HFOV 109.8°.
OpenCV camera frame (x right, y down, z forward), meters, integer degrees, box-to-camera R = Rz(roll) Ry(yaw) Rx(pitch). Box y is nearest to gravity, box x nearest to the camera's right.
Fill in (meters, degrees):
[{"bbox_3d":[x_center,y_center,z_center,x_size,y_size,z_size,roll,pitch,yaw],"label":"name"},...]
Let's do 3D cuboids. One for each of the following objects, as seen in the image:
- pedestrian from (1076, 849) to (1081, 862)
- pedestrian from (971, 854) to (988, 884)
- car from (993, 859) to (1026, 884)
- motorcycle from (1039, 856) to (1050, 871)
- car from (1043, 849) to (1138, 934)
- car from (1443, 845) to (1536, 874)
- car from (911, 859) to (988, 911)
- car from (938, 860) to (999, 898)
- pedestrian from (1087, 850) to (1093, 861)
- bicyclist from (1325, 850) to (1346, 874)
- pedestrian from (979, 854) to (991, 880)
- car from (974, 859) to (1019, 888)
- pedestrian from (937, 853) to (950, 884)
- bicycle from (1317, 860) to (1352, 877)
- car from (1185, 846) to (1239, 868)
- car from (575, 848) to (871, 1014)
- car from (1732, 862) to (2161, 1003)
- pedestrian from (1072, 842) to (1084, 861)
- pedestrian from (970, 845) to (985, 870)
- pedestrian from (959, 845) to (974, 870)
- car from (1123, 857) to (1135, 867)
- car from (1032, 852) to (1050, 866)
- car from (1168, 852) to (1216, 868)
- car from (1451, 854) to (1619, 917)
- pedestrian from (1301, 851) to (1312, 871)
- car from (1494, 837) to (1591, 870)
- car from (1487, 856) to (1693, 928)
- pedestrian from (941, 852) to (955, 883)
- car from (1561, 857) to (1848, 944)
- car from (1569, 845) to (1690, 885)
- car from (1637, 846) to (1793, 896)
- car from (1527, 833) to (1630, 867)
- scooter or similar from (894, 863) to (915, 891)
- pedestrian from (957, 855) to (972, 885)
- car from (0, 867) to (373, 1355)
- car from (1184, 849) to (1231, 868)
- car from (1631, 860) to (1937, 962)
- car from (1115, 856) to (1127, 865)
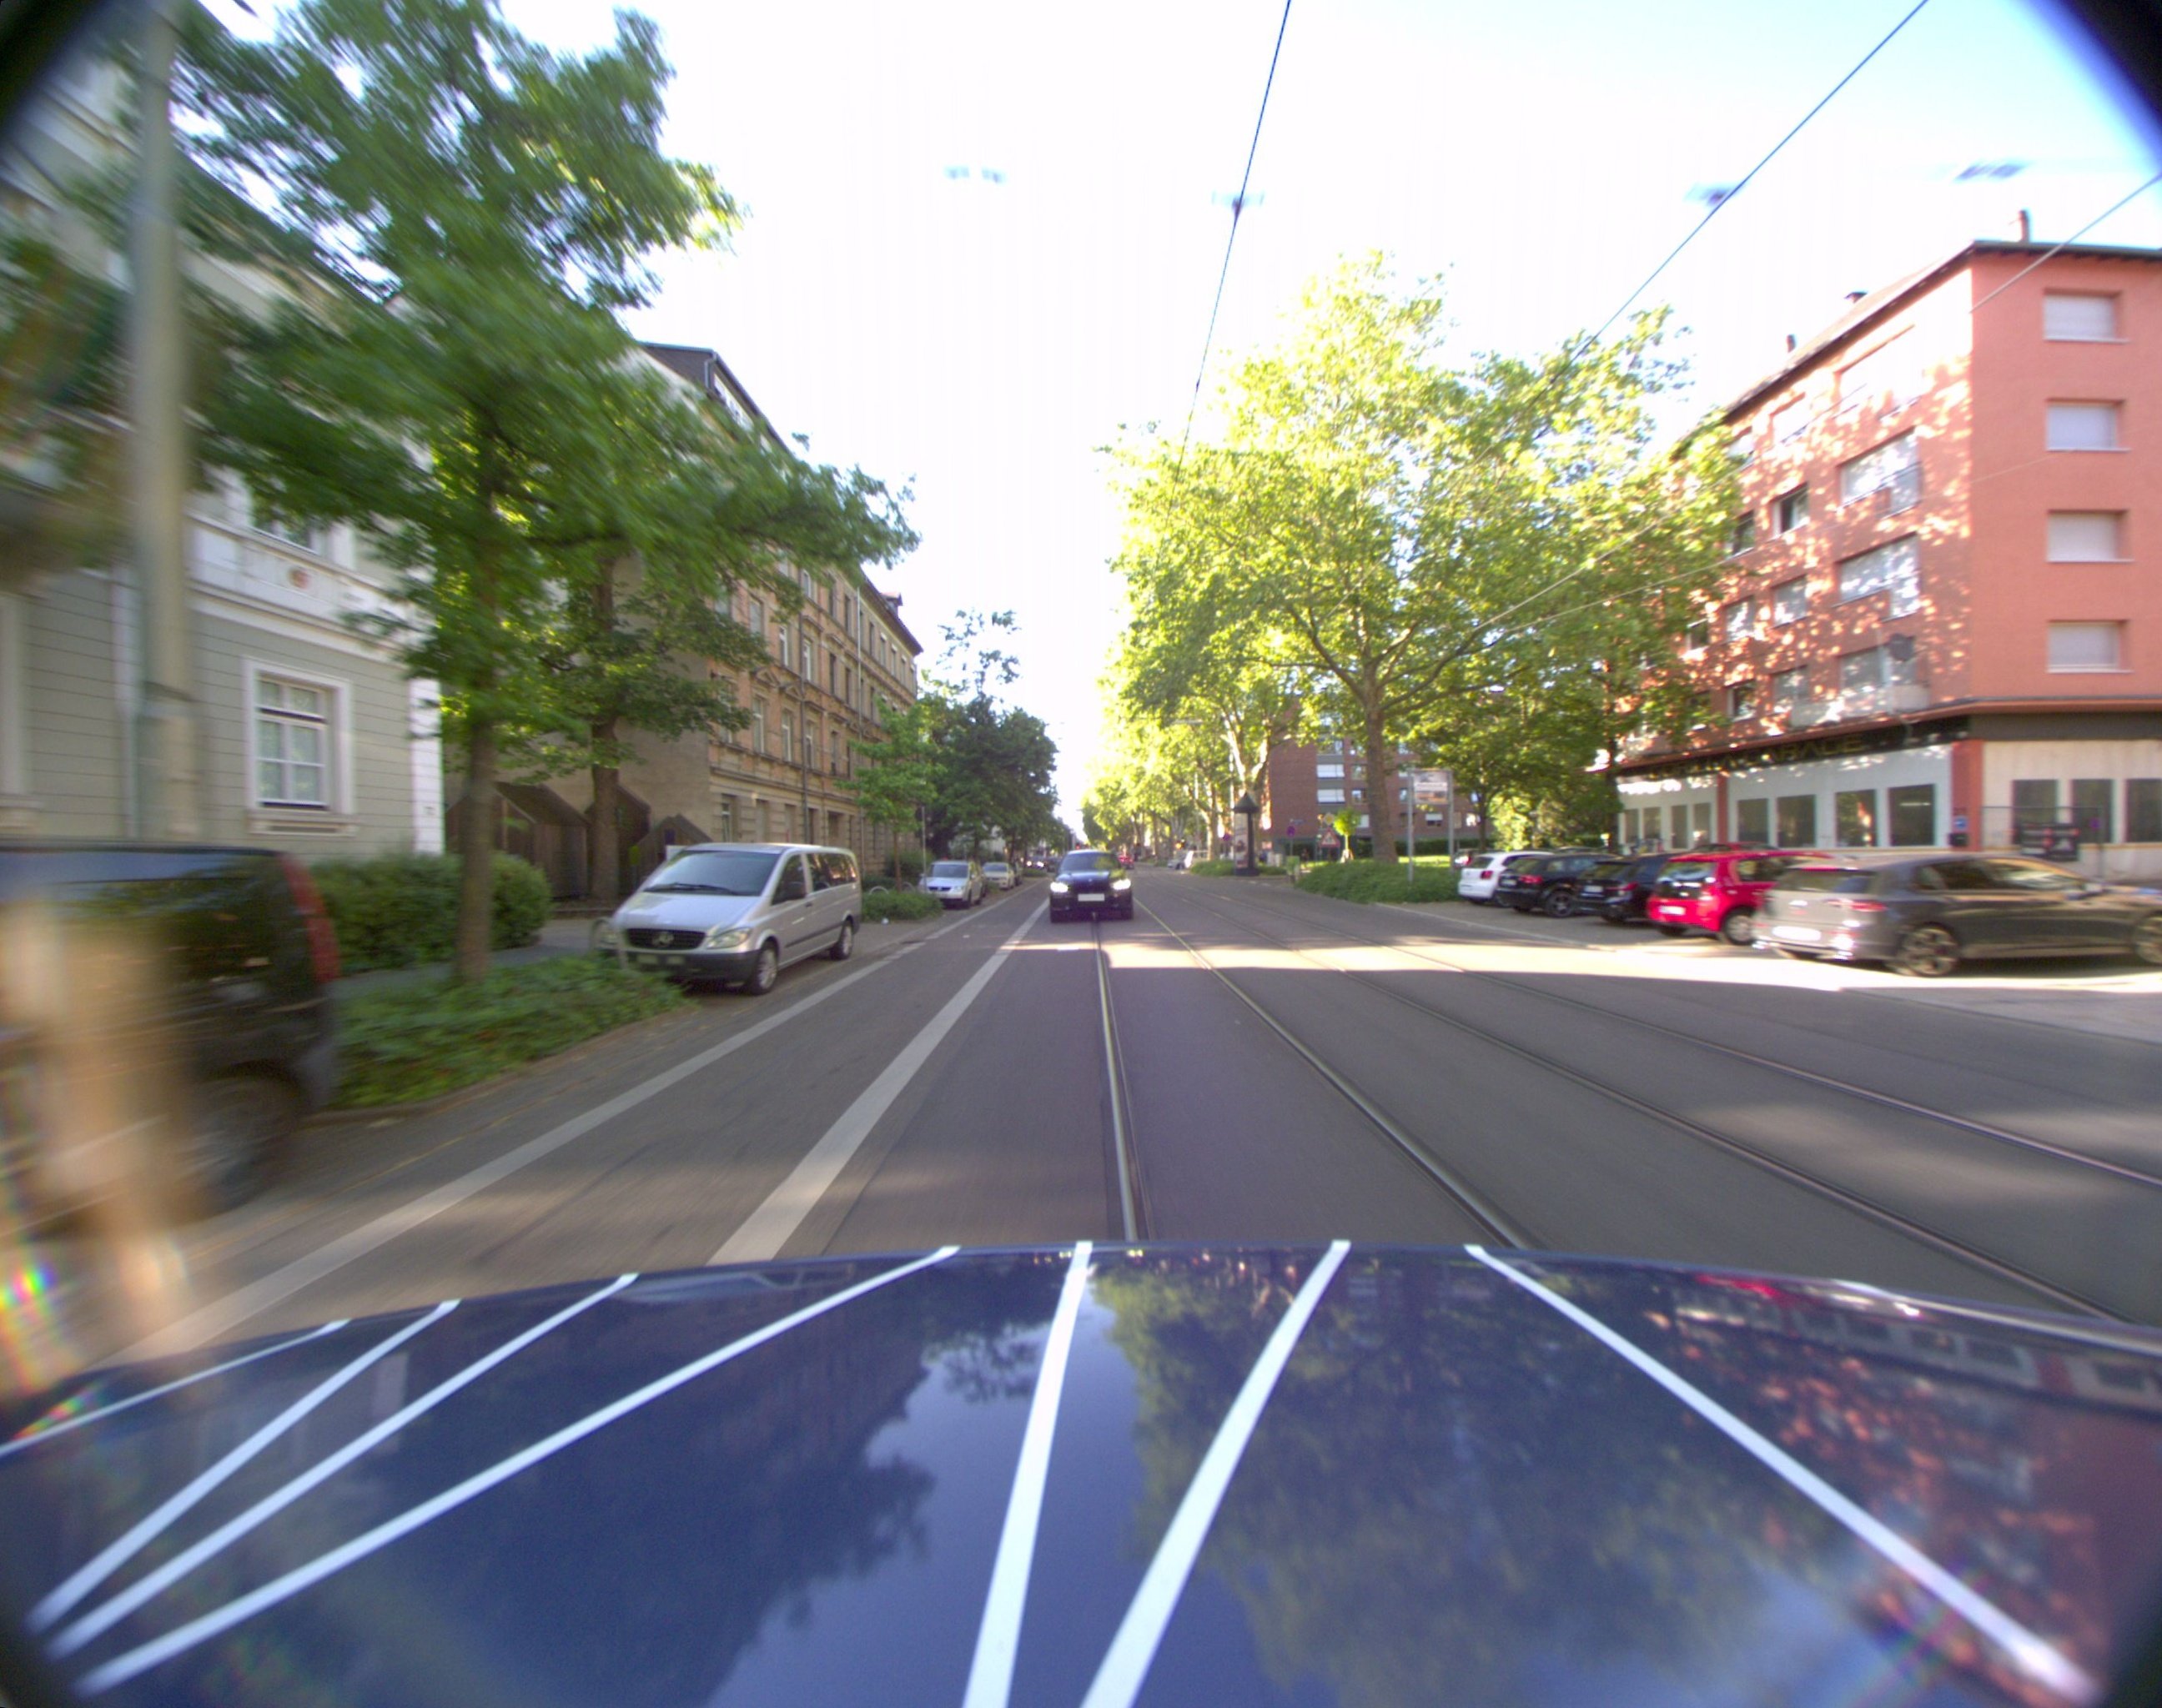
[{"bbox_3d":[-0.350,0.235,108.182,0.493,1.760,0.704,-2,1,16],"label":"pedestrian"},{"bbox_3d":[-5.890,0.857,44.092,0.728,1.683,0.957,-2,1,2],"label":"pedestrian"},{"bbox_3d":[-4.412,1.090,47.375,1.677,1.404,3.842,1,1,-1],"label":"car"},{"bbox_3d":[-3.866,0.993,80.686,1.054,1.446,2.208,-2,1,1],"label":"motorcycle"},{"bbox_3d":[0.260,0.785,18.663,1.937,1.718,5.073,-3,0,1],"label":"car"},{"bbox_3d":[24.148,0.308,44.964,4.540,1.480,1.859,-2,1,-5],"label":"car"},{"bbox_3d":[-4.498,1.015,26.641,1.889,1.559,4.242,1,1,1],"label":"car"},{"bbox_3d":[-4.826,1.034,33.134,1.889,1.458,4.593,1,1,1],"label":"car"},{"bbox_3d":[1.391,0.224,113.164,0.836,1.703,0.640,-2,1,2],"label":"pedestrian"},{"bbox_3d":[16.140,0.486,48.216,0.802,1.498,1.116,-2,1,-10],"label":"bicyclist"},{"bbox_3d":[-6.581,0.877,52.263,0.728,1.783,0.600,-2,1,-3],"label":"pedestrian"},{"bbox_3d":[-4.468,1.019,40.847,1.889,1.360,4.106,1,1,1],"label":"car"},{"bbox_3d":[-8.156,0.862,45.207,0.600,1.783,0.728,-2,1,-2],"label":"pedestrian"},{"bbox_3d":[16.120,0.917,48.339,0.971,0.993,2.581,-2,1,-9],"label":"bicycle"},{"bbox_3d":[12.015,0.279,69.712,4.582,1.823,1.938,-2,1,-1],"label":"car"},{"bbox_3d":[-4.707,0.845,11.018,1.889,1.840,4.967,1,1,1],"label":"car"},{"bbox_3d":[11.124,0.919,9.703,3.997,1.456,1.854,-2,1,0],"label":"car"},{"bbox_3d":[-0.302,-0.235,75.840,0.870,1.874,0.996,-2,1,-17],"label":"pedestrian"},{"bbox_3d":[-7.239,0.245,53.145,0.727,1.783,0.854,1,1,11],"label":"pedestrian"},{"bbox_3d":[-8.004,0.244,53.079,0.727,1.783,0.969,1,1,11],"label":"pedestrian"},{"bbox_3d":[7.148,1.199,113.825,1.665,1.435,3.473,-2,1,1],"label":"car"},{"bbox_3d":[-4.797,0.622,92.102,1.766,1.612,4.442,0,0,2],"label":"car"},{"bbox_3d":[11.796,0.660,80.664,4.776,1.452,1.954,-2,1,-1],"label":"car"},{"bbox_3d":[11.975,0.809,20.223,3.427,1.456,1.697,-2,1,3],"label":"car"},{"bbox_3d":[19.173,0.581,64.625,0.711,1.663,0.779,-2,1,0],"label":"pedestrian"},{"bbox_3d":[22.371,-0.030,37.012,1.818,1.484,3.996,-2,1,-9],"label":"car"},{"bbox_3d":[11.729,0.847,17.689,3.610,1.456,1.687,-2,1,3],"label":"car"},{"bbox_3d":[-7.806,0.761,44.639,0.600,1.783,0.728,-2,1,-2],"label":"pedestrian"},{"bbox_3d":[12.162,0.878,15.048,4.092,1.456,1.821,-2,1,3],"label":"car"},{"bbox_3d":[21.338,0.394,29.765,1.952,1.399,3.892,-2,1,1],"label":"car"},{"bbox_3d":[21.254,0.511,25.718,1.952,1.478,4.000,-2,1,1],"label":"car"},{"bbox_3d":[24.615,-0.200,37.780,2.001,1.517,3.995,-2,1,-14],"label":"car"},{"bbox_3d":[-8.108,1.052,34.898,0.577,1.239,1.335,-2,1,2],"label":"scooter or similar"},{"bbox_3d":[-6.777,0.949,44.228,0.728,1.699,0.856,-2,1,0],"label":"pedestrian"},{"bbox_3d":[-4.935,0.983,1.892,1.890,1.756,4.677,-1,1,1],"label":"car"},{"bbox_3d":[12.125,0.406,72.801,4.150,1.637,1.902,-2,1,-1],"label":"car"},{"bbox_3d":[11.599,0.900,12.742,3.427,1.456,1.759,-2,1,3],"label":"car"},{"bbox_3d":[7.061,1.109,134.498,1.820,1.559,4.116,0,1,1],"label":"car"}]
